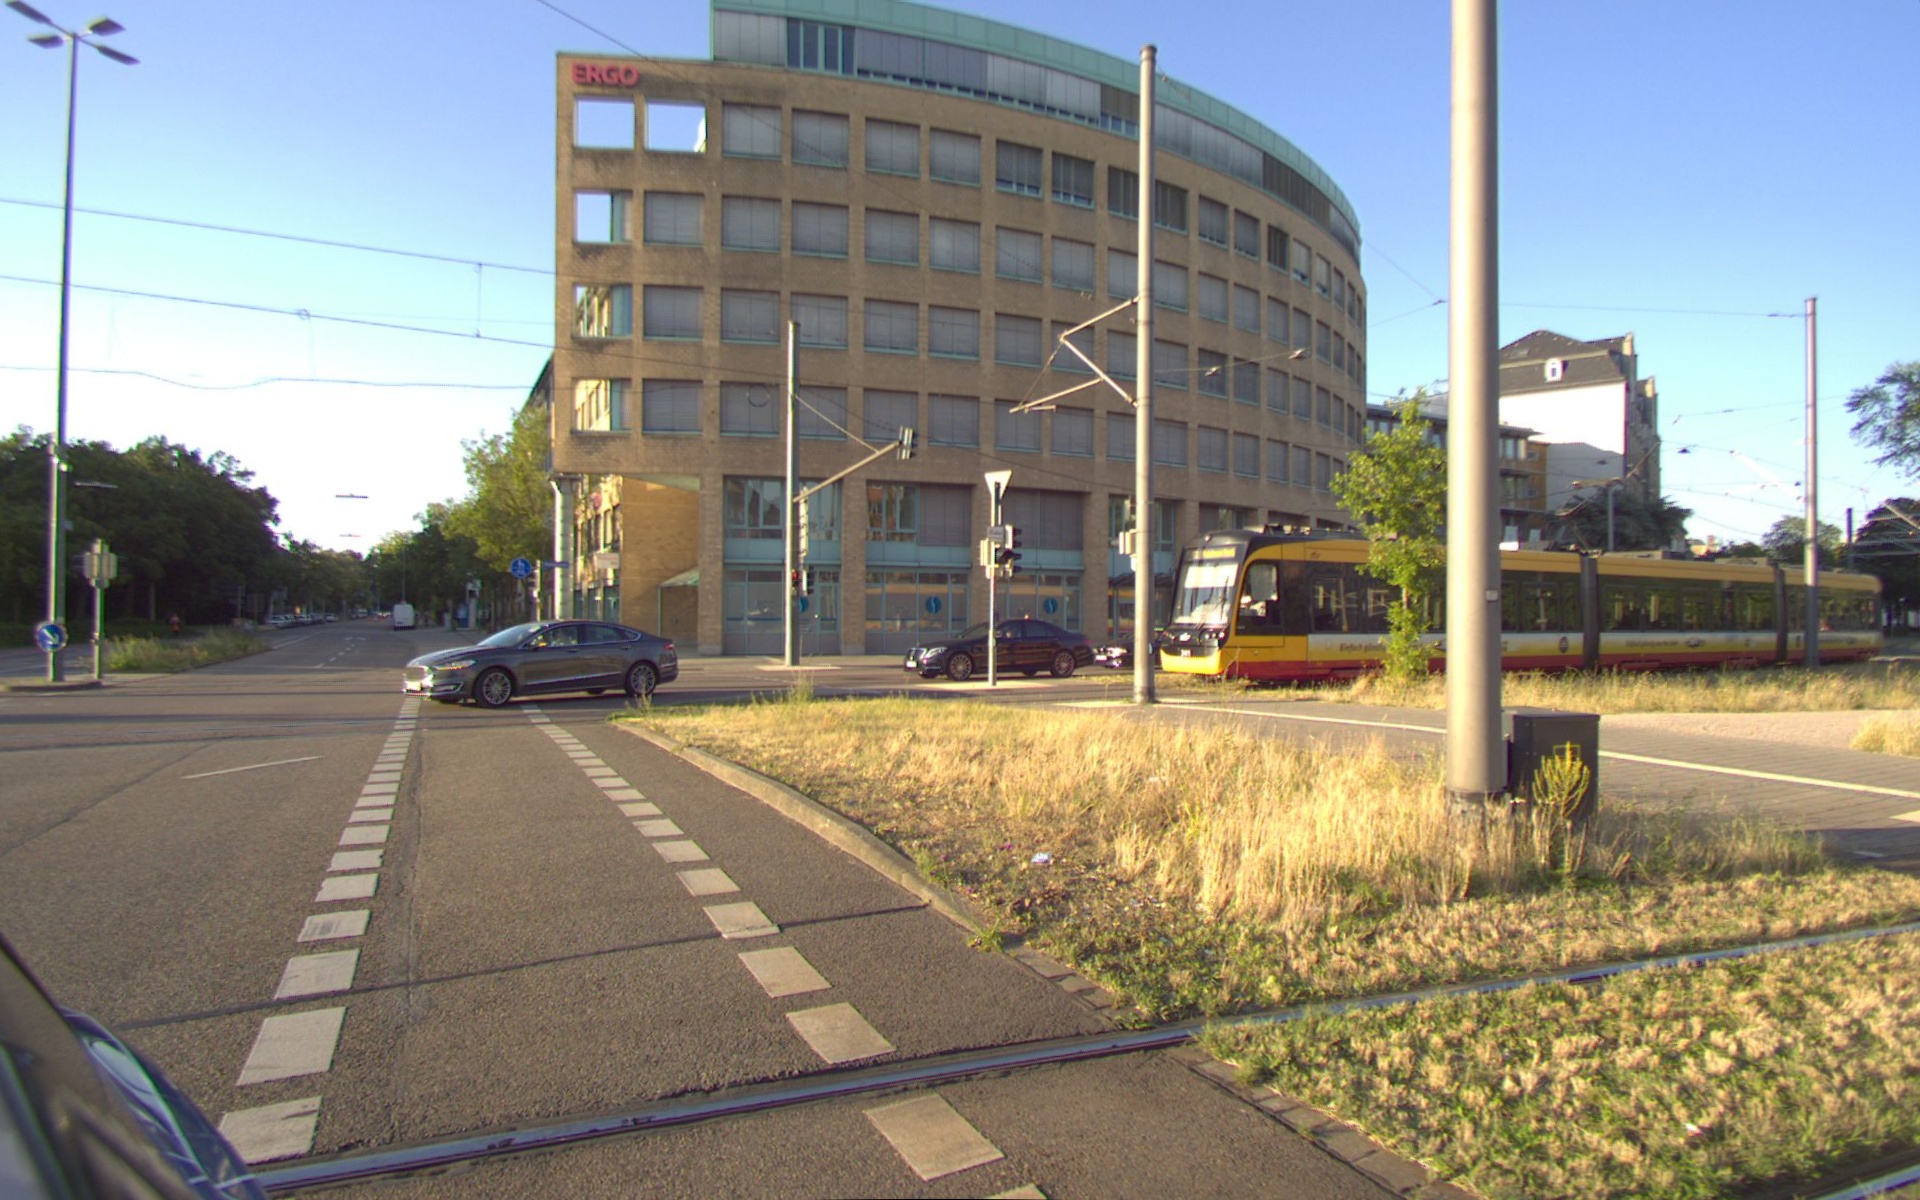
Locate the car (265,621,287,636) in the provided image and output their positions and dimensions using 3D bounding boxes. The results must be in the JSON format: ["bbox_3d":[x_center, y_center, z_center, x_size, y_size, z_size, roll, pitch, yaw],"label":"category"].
[{"bbox_3d":[-73.676,3.046,109.036,1.875,1.630,4.011,1,-1,-34],"label":"car"}]

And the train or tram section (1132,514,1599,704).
[{"bbox_3d":[10.238,0.255,24.485,12.990,3.767,2.927,1,-1,-29],"label":"train or tram section"}]

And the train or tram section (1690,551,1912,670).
[{"bbox_3d":[30.763,0.420,36.744,11.987,3.767,2.922,1,-2,-34],"label":"train or tram section"}]

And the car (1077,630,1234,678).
[{"bbox_3d":[6.192,1.663,31.938,4.658,1.396,2.006,1,-2,-29],"label":"car"}]

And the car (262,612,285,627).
[{"bbox_3d":[-76.624,2.172,112.898,1.967,1.671,4.009,1,-1,-36],"label":"car"}]

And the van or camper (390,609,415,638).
[{"bbox_3d":[-57.309,2.411,104.090,2.118,2.864,4.418,1,-1,-27],"label":"van or camper"}]

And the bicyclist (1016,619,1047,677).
[{"bbox_3d":[2.283,1.534,32.496,0.764,1.834,0.637,1,-2,-31],"label":"bicyclist"}]

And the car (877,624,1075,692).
[{"bbox_3d":[0.428,1.390,25.364,4.624,1.547,1.904,1,-1,-29],"label":"car"}]

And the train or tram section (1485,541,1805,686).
[{"bbox_3d":[20.868,0.419,30.468,11.974,3.767,2.896,1,-1,-29],"label":"train or tram section"}]

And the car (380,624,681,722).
[{"bbox_3d":[-7.562,1.199,18.237,1.890,1.497,4.662,-1,-1,40],"label":"car"}]
